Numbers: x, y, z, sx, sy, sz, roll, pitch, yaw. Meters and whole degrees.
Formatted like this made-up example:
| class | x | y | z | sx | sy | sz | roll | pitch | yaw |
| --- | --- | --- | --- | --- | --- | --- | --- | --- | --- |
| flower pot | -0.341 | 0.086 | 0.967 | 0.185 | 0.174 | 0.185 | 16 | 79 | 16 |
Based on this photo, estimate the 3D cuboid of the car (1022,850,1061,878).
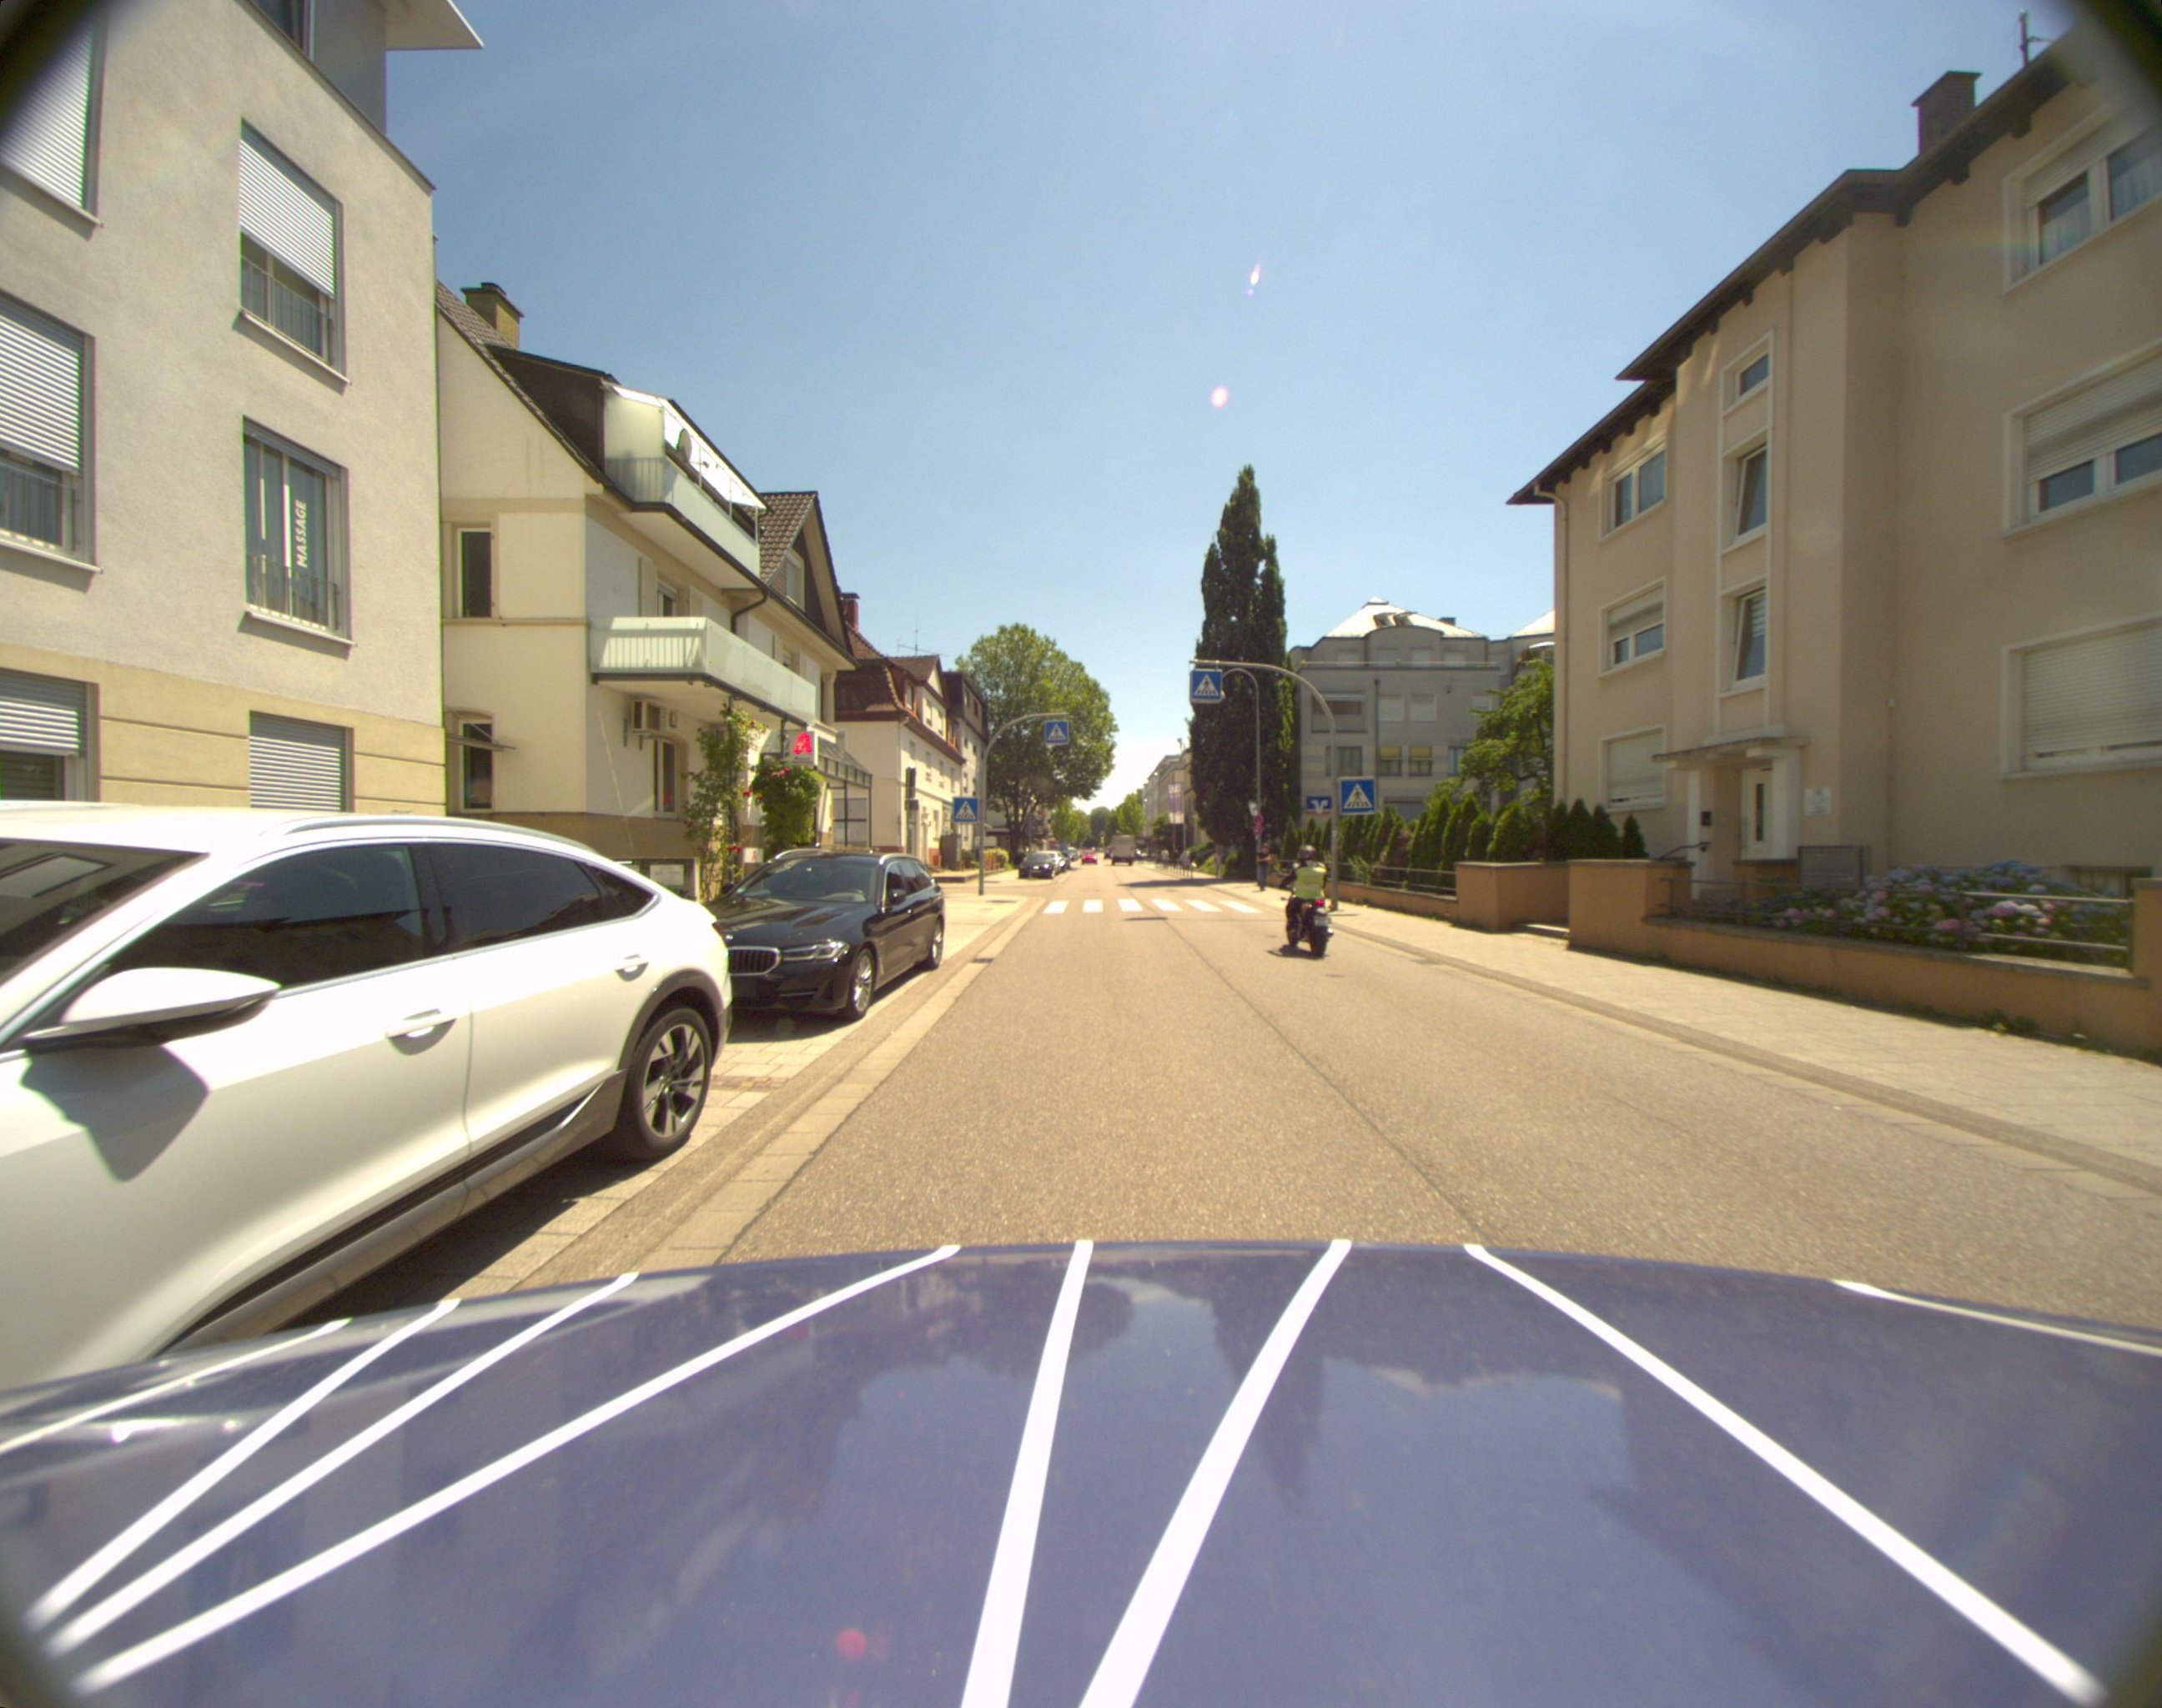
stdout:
| class | x | y | z | sx | sy | sz | roll | pitch | yaw |
| --- | --- | --- | --- | --- | --- | --- | --- | --- | --- |
| car | -2.121 | 0.496 | 42.155 | 1.831 | 1.418 | 4.700 | 1 | 1 | 1 |

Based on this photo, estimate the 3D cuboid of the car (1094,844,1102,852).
| class | x | y | z | sx | sy | sz | roll | pitch | yaw |
| --- | --- | --- | --- | --- | --- | --- | --- | --- | --- |
| car | 3.636 | -1.279 | 166.327 | 1.698 | 1.594 | 3.812 | 0 | 1 | 0 |

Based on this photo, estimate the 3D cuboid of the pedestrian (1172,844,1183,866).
| class | x | y | z | sx | sy | sz | roll | pitch | yaw |
| --- | --- | --- | --- | --- | --- | --- | --- | --- | --- |
| pedestrian | 7.824 | 0.073 | 61.650 | 0.750 | 1.760 | 0.951 | -1 | 1 | 0 |

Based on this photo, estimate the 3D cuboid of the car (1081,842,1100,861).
| class | x | y | z | sx | sy | sz | roll | pitch | yaw |
| --- | --- | --- | --- | --- | --- | --- | --- | --- | --- |
| car | 1.044 | -0.277 | 82.688 | 2.000 | 1.880 | 4.293 | -2 | 1 | 1 |

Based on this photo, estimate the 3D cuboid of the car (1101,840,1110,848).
| class | x | y | z | sx | sy | sz | roll | pitch | yaw |
| --- | --- | --- | --- | --- | --- | --- | --- | --- | --- |
| car | 5.021 | -1.991 | 157.965 | 1.731 | 1.500 | 4.292 | -2 | 2 | 0 |

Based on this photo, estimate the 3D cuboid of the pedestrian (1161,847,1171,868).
| class | x | y | z | sx | sy | sz | roll | pitch | yaw |
| --- | --- | --- | --- | --- | --- | --- | --- | --- | --- |
| pedestrian | 6.913 | 0.283 | 61.597 | 0.622 | 1.667 | 0.903 | -3 | 1 | 0 |

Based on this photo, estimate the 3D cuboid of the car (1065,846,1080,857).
| class | x | y | z | sx | sy | sz | roll | pitch | yaw |
| --- | --- | --- | --- | --- | --- | --- | --- | --- | --- |
| car | -1.144 | -0.316 | 101.399 | 1.818 | 1.379 | 4.114 | 2 | 1 | 1 |

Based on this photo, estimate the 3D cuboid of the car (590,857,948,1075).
| class | x | y | z | sx | sy | sz | roll | pitch | yaw |
| --- | --- | --- | --- | --- | --- | --- | --- | --- | --- |
| car | -2.756 | 0.852 | 8.075 | 1.709 | 1.547 | 4.748 | -2 | 0 | 1 |

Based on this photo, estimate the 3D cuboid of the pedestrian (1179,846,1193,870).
| class | x | y | z | sx | sy | sz | roll | pitch | yaw |
| --- | --- | --- | --- | --- | --- | --- | --- | --- | --- |
| pedestrian | 7.340 | 0.262 | 53.294 | 0.847 | 1.635 | 0.751 | -3 | 2 | 3 |

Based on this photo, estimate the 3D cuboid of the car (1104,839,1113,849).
| class | x | y | z | sx | sy | sz | roll | pitch | yaw |
| --- | --- | --- | --- | --- | --- | --- | --- | --- | --- |
| car | 6.109 | -2.206 | 167.577 | 1.731 | 2.154 | 4.293 | 1 | 1 | 1 |

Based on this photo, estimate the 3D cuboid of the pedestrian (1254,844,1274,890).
| class | x | y | z | sx | sy | sz | roll | pitch | yaw |
| --- | --- | --- | --- | --- | --- | --- | --- | --- | --- |
| pedestrian | 6.766 | 0.488 | 28.109 | 0.538 | 1.675 | 0.708 | -1 | 1 | 1 |

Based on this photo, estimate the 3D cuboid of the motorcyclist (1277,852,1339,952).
| class | x | y | z | sx | sy | sz | roll | pitch | yaw |
| --- | --- | --- | --- | --- | --- | --- | --- | --- | --- |
| motorcyclist | 3.349 | 0.687 | 11.255 | 0.700 | 1.425 | 0.707 | 1 | 1 | 2 |

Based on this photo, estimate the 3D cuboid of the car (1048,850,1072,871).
| class | x | y | z | sx | sy | sz | roll | pitch | yaw |
| --- | --- | --- | --- | --- | --- | --- | --- | --- | --- |
| car | -1.461 | 0.436 | 53.790 | 1.561 | 1.333 | 4.173 | 1 | 1 | 1 |

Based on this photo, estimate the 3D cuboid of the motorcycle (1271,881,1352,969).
| class | x | y | z | sx | sy | sz | roll | pitch | yaw |
| --- | --- | --- | --- | --- | --- | --- | --- | --- | --- |
| motorcycle | 3.339 | 0.992 | 11.167 | 0.700 | 1.101 | 1.790 | 1 | 1 | 2 |

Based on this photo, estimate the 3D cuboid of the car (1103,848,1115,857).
| class | x | y | z | sx | sy | sz | roll | pitch | yaw |
| --- | --- | --- | --- | --- | --- | --- | --- | --- | --- |
| car | 4.477 | -0.224 | 122.190 | 1.834 | 1.502 | 4.262 | 0 | 1 | 1 |

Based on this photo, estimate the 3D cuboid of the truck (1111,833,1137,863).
| class | x | y | z | sx | sy | sz | roll | pitch | yaw |
| --- | --- | --- | --- | --- | --- | --- | --- | --- | --- |
| truck | 4.384 | -0.614 | 78.267 | 2.426 | 2.966 | 6.257 | 0 | 1 | 1 |

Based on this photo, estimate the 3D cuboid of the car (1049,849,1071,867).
| class | x | y | z | sx | sy | sz | roll | pitch | yaw |
| --- | --- | --- | --- | --- | --- | --- | --- | --- | --- |
| car | -1.788 | 0.298 | 65.404 | 1.834 | 1.502 | 4.758 | 0 | 1 | -2 |

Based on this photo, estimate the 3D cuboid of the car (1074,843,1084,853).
| class | x | y | z | sx | sy | sz | roll | pitch | yaw |
| --- | --- | --- | --- | --- | --- | --- | --- | --- | --- |
| car | -0.330 | -1.088 | 136.079 | 1.731 | 1.861 | 4.114 | 0 | 1 | 1 |

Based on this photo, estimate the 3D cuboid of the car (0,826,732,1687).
| class | x | y | z | sx | sy | sz | roll | pitch | yaw |
| --- | --- | --- | --- | --- | --- | --- | --- | --- | --- |
| car | -2.927 | 0.767 | 2.071 | 1.709 | 1.656 | 4.580 | 2 | 1 | 1 |

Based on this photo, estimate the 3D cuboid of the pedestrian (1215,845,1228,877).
| class | x | y | z | sx | sy | sz | roll | pitch | yaw |
| --- | --- | --- | --- | --- | --- | --- | --- | --- | --- |
| pedestrian | 7.339 | 0.365 | 39.794 | 0.538 | 1.675 | 0.708 | -1 | 1 | 1 |

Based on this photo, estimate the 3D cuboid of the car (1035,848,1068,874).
| class | x | y | z | sx | sy | sz | roll | pitch | yaw |
| --- | --- | --- | --- | --- | --- | --- | --- | --- | --- |
| car | -1.827 | 0.423 | 48.096 | 1.748 | 1.460 | 4.851 | 2 | 1 | 1 |
